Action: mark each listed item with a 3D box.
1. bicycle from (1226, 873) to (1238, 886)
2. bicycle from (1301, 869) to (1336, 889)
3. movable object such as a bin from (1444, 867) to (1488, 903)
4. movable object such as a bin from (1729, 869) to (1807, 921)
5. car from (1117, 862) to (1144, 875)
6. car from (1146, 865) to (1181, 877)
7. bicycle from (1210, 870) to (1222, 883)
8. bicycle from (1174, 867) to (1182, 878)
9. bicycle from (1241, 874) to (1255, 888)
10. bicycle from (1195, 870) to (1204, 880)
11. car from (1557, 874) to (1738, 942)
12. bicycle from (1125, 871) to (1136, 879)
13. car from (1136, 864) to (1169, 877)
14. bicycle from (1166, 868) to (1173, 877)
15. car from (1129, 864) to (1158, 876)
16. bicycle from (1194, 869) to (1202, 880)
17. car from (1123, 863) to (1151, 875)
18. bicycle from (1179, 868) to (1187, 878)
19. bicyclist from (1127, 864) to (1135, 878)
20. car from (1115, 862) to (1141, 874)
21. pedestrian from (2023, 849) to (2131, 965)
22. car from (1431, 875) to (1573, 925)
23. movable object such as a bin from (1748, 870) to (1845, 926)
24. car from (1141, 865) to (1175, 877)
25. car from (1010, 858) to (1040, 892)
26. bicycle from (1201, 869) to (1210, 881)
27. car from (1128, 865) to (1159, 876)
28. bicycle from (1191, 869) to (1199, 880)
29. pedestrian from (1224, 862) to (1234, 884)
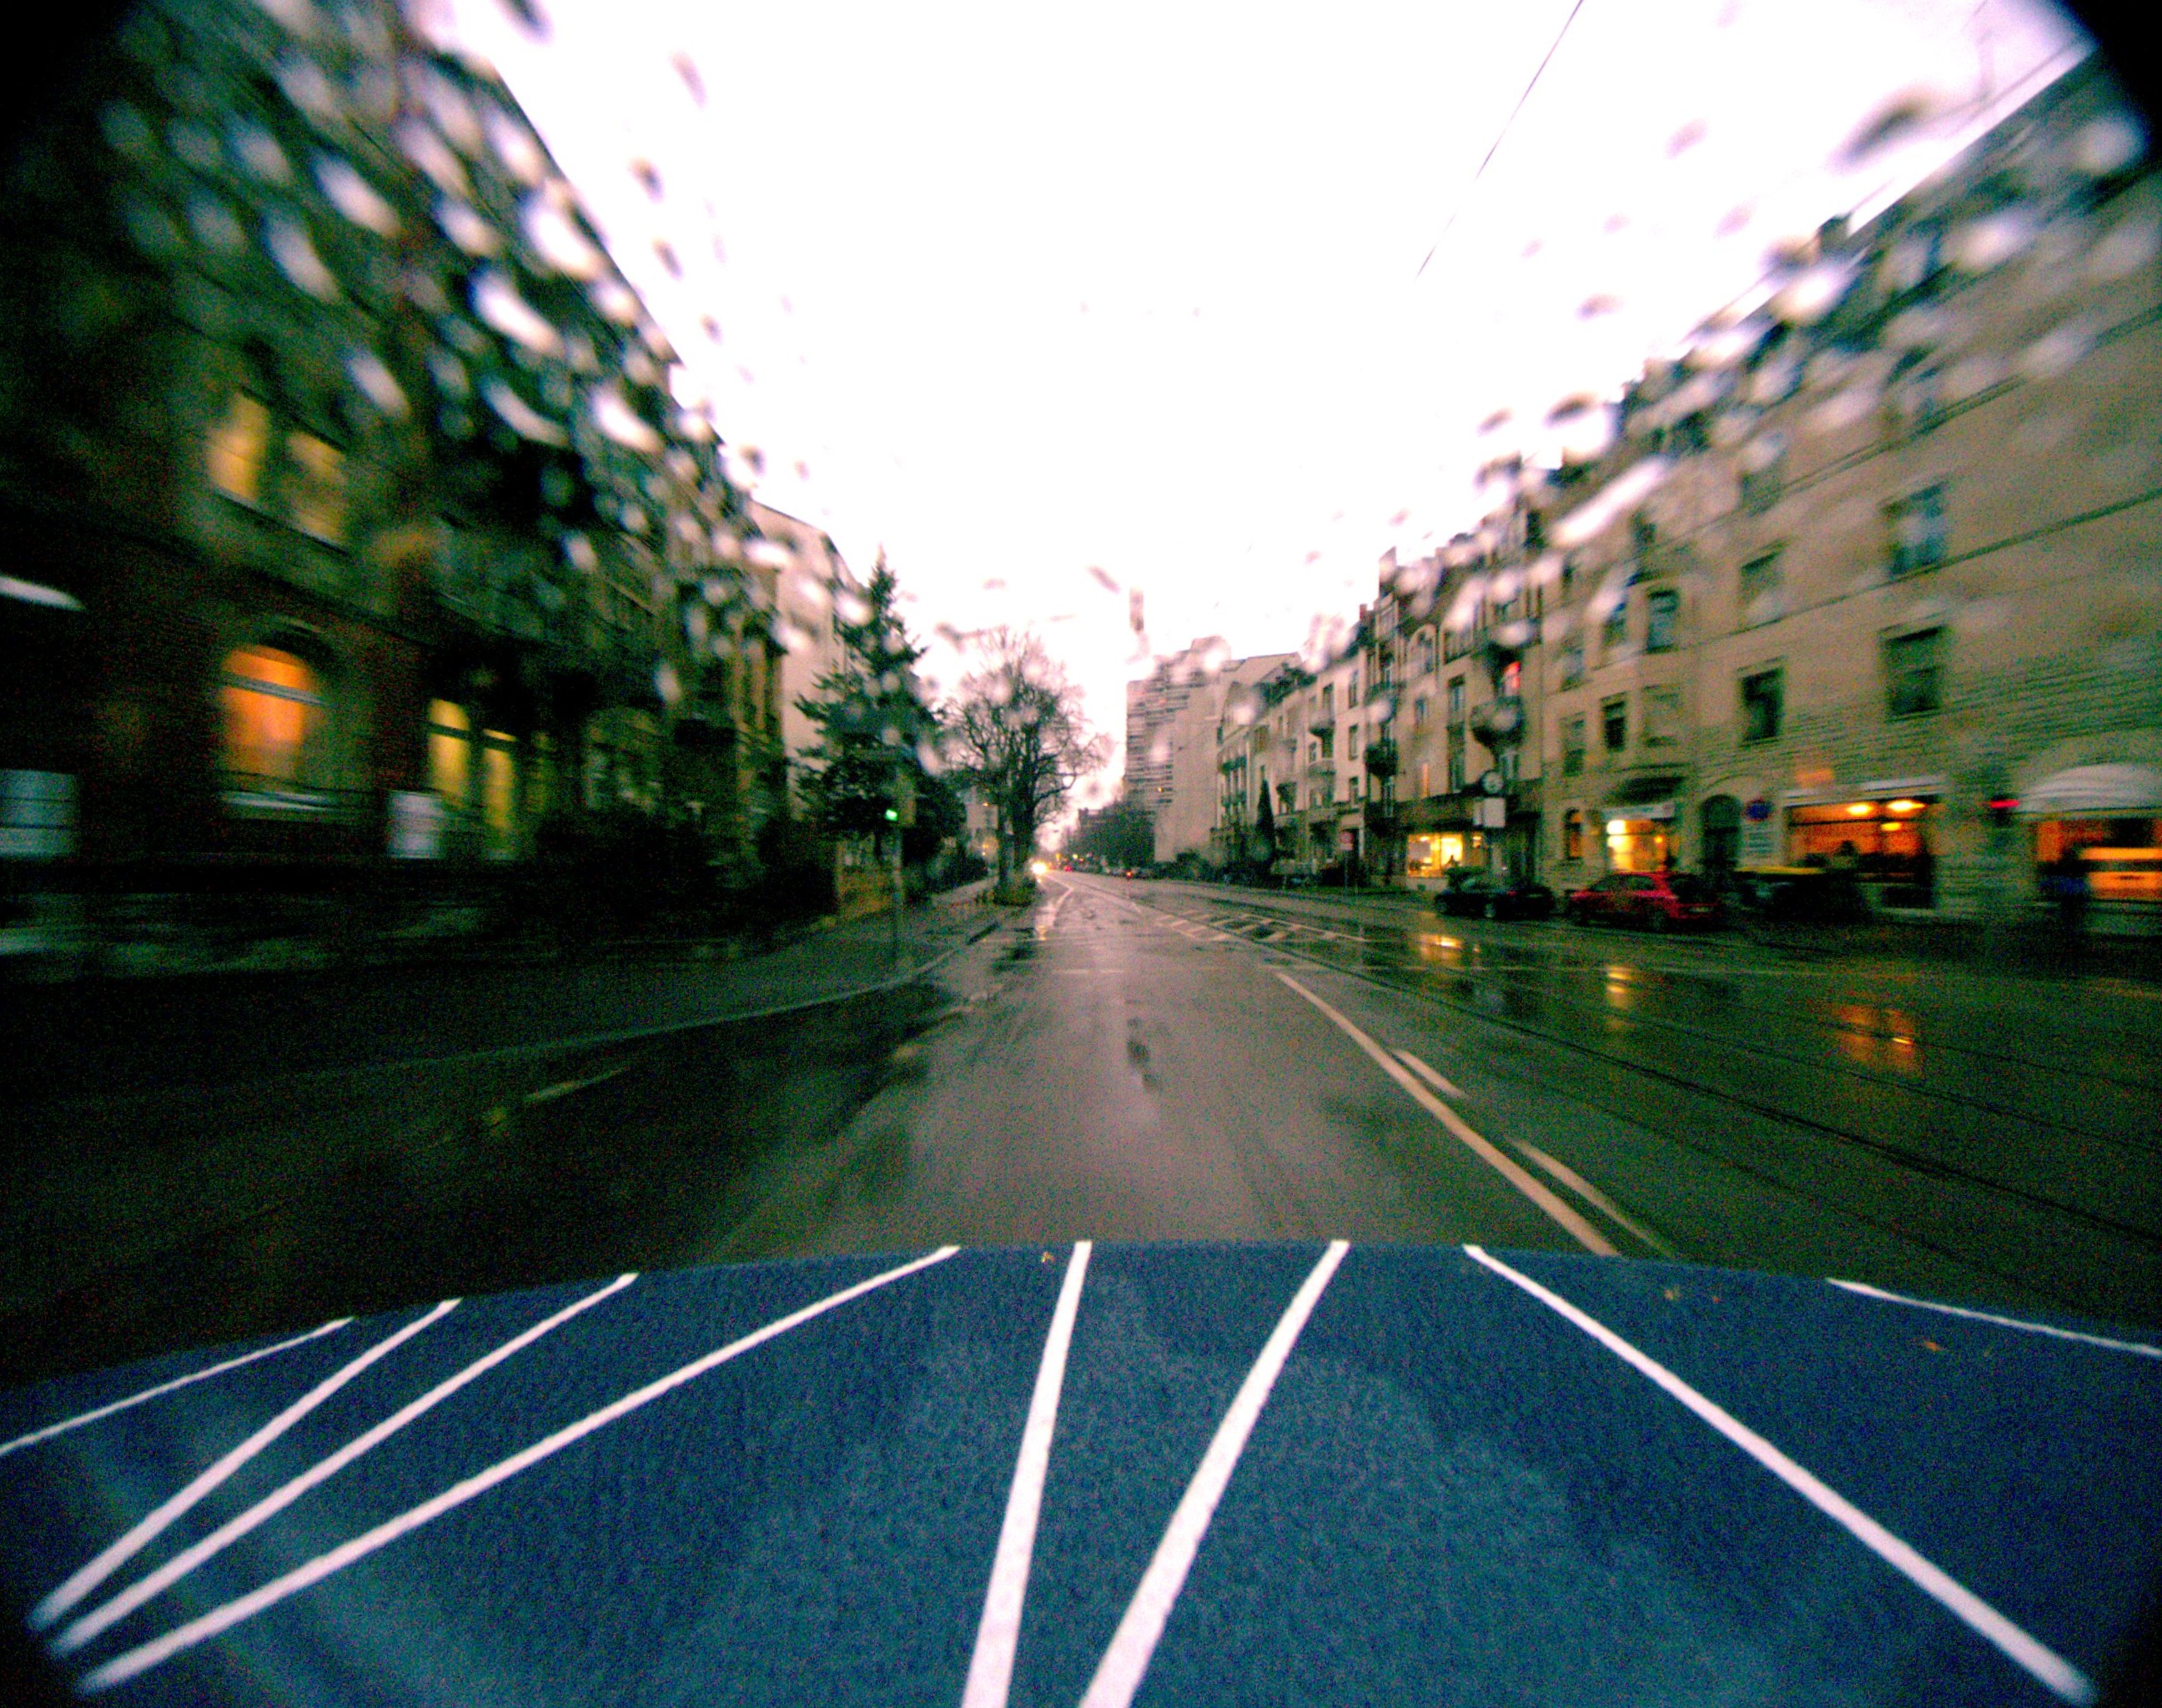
[{"bbox_3d":[11.613,1.931,58.492,0.531,0.884,2.209,-3,0,0],"label":"bicycle"},{"bbox_3d":[14.960,1.561,47.880,1.990,1.152,0.531,-3,0,-4],"label":"bicycle"},{"bbox_3d":[16.313,1.312,32.250,1.240,1.423,1.073,-3,0,-5],"label":"movable object such as a bin"},{"bbox_3d":[19.570,1.147,21.679,1.004,1.364,1.274,-3,0,-5],"label":"movable object such as a bin"},{"bbox_3d":[7.441,2.220,114.966,3.841,1.707,1.727,-3,0,-3],"label":"car"},{"bbox_3d":[9.739,2.054,90.050,3.841,1.405,1.727,0,0,-3],"label":"car"},{"bbox_3d":[11.380,1.874,63.943,0.485,1.001,2.209,-3,0,-2],"label":"bicycle"},{"bbox_3d":[10.034,1.915,78.512,0.435,1.001,1.881,-3,0,-2],"label":"bicycle"},{"bbox_3d":[11.776,1.885,53.693,0.531,0.934,2.086,-3,0,0],"label":"bicycle"},{"bbox_3d":[10.742,1.884,69.042,0.442,0.827,1.767,-3,0,-2],"label":"bicycle"},{"bbox_3d":[14.904,1.353,20.253,1.677,1.507,3.676,-3,0,-10],"label":"car"},{"bbox_3d":[5.214,2.213,80.217,0.649,0.884,1.712,2,-1,-11],"label":"bicycle"},{"bbox_3d":[9.003,2.044,95.495,3.841,1.405,1.727,-3,0,-3],"label":"car"},{"bbox_3d":[9.714,2.026,83.444,0.469,1.001,1.881,-3,0,-2],"label":"bicycle"},{"bbox_3d":[8.663,2.223,105.802,3.841,1.405,1.727,-3,0,-3],"label":"car"},{"bbox_3d":[10.681,1.880,69.429,0.435,1.001,1.605,-3,0,-2],"label":"bicycle"},{"bbox_3d":[8.256,2.204,112.192,3.841,1.707,1.727,-2,0,-3],"label":"car"},{"bbox_3d":[10.219,1.918,76.511,0.435,1.001,1.881,-3,0,-2],"label":"bicycle"},{"bbox_3d":[5.244,1.811,80.151,0.658,1.491,0.658,2,0,-11],"label":"bicyclist"},{"bbox_3d":[7.360,2.227,118.924,3.841,1.707,1.727,-3,0,-3],"label":"car"},{"bbox_3d":[16.818,0.871,12.862,0.796,1.867,0.896,-3,0,32],"label":"pedestrian"},{"bbox_3d":[13.945,1.461,25.525,1.807,1.382,4.506,-3,0,-7],"label":"car"},{"bbox_3d":[19.064,1.155,20.277,1.353,1.364,1.281,-3,0,-5],"label":"movable object such as a bin"},{"bbox_3d":[9.379,2.070,92.706,3.841,1.405,1.727,1,-1,-3],"label":"car"},{"bbox_3d":[-3.545,1.280,47.724,1.727,1.934,4.507,-3,0,-5],"label":"car"},{"bbox_3d":[11.028,1.861,67.242,0.435,1.001,1.712,-3,0,-2],"label":"bicycle"},{"bbox_3d":[8.357,2.180,101.285,3.841,1.405,1.727,-2,-1,-3],"label":"car"},{"bbox_3d":[10.703,1.918,71.369,0.435,1.001,1.881,-3,0,-2],"label":"bicycle"},{"bbox_3d":[11.005,1.396,56.637,0.574,1.632,0.449,-3,0,-6],"label":"pedestrian"}]
